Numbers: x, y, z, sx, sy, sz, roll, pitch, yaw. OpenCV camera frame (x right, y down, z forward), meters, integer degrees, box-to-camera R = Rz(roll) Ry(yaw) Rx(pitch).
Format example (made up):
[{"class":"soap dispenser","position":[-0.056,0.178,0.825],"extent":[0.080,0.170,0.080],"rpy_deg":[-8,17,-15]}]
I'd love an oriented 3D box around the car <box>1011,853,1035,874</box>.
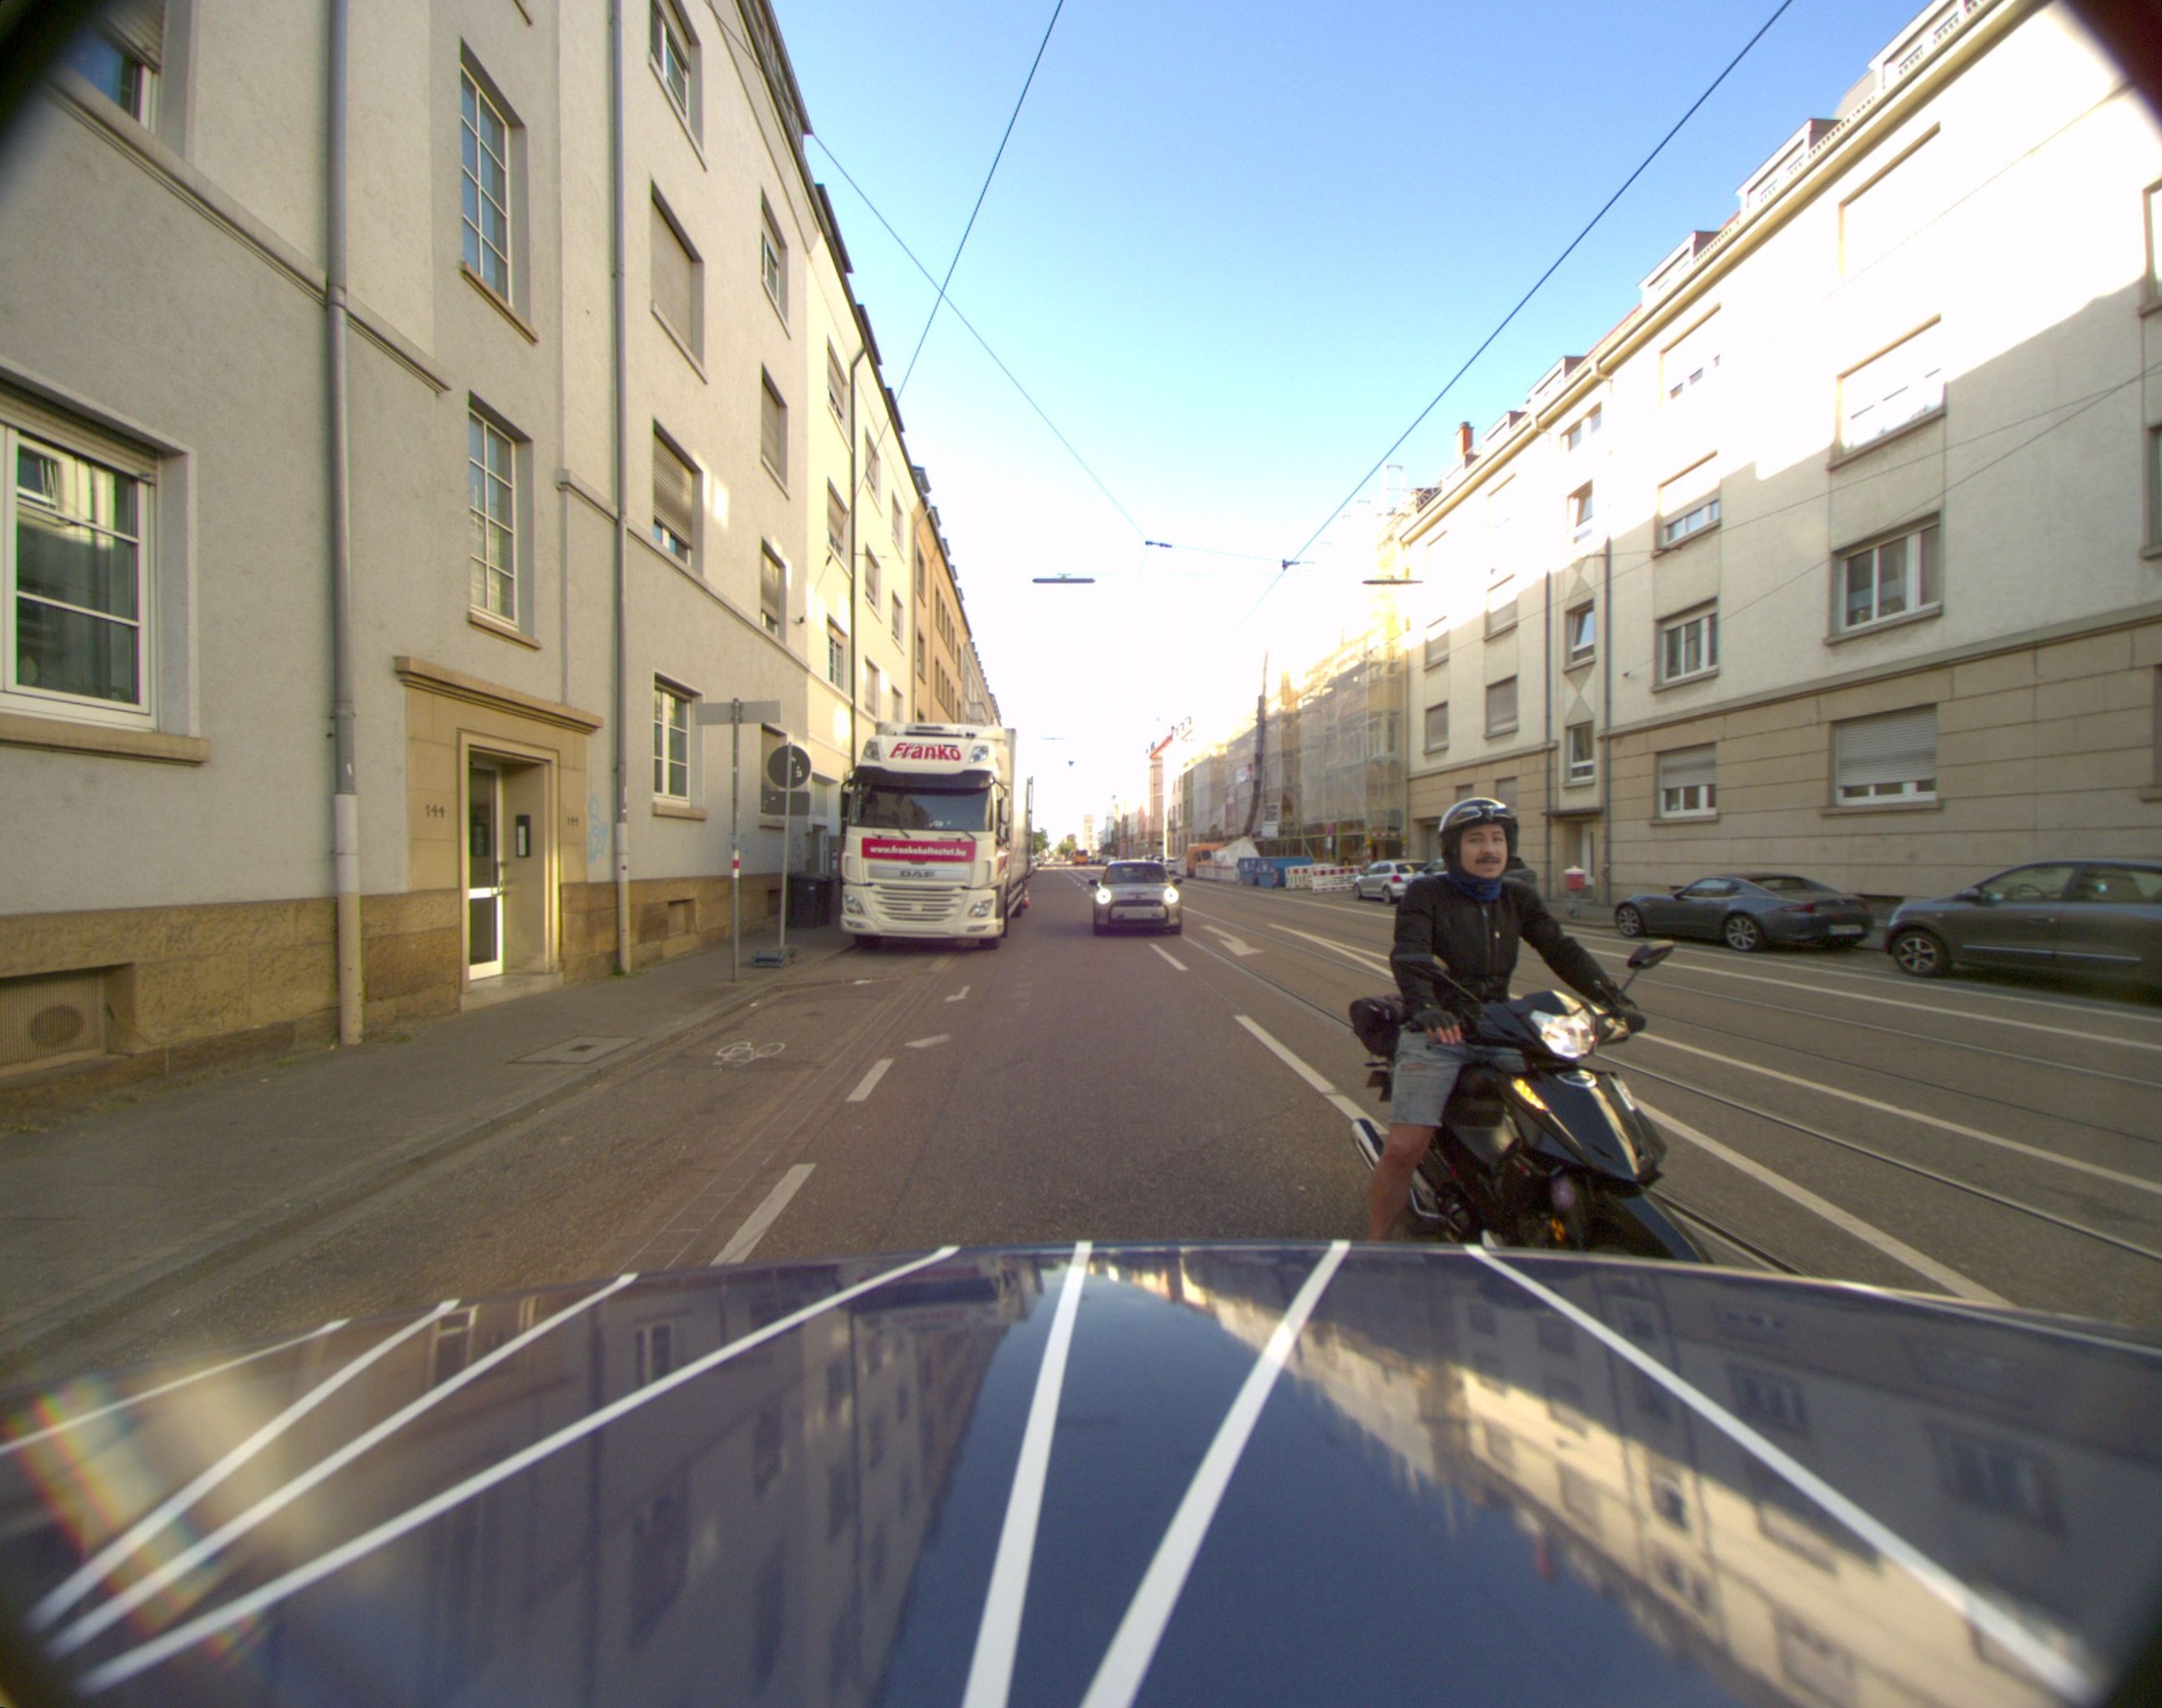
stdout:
[{"class":"car","position":[-4.514,0.741,59.173],"extent":[1.685,1.522,4.148],"rpy_deg":[-2,0,-3]}]

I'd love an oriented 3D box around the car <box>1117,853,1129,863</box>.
[{"class":"car","position":[6.596,0.617,118.650],"extent":[1.684,1.478,3.966],"rpy_deg":[-2,0,1]}]

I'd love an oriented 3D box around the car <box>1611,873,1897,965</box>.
[{"class":"car","position":[11.176,1.000,12.996],"extent":[1.520,1.227,3.685],"rpy_deg":[-1,0,-3]}]

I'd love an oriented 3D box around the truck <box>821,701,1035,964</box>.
[{"class":"truck","position":[-2.629,-0.324,17.195],"extent":[2.782,3.903,11.816],"rpy_deg":[0,0,-2]}]

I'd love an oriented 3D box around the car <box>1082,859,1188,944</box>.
[{"class":"car","position":[0.991,0.875,15.821],"extent":[1.685,1.454,4.148],"rpy_deg":[-2,0,-3]}]

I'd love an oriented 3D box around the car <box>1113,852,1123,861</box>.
[{"class":"car","position":[6.528,0.458,134.416],"extent":[1.684,1.478,3.966],"rpy_deg":[-2,0,1]}]

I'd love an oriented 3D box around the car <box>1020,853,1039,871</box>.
[{"class":"car","position":[-4.859,0.742,72.113],"extent":[1.685,1.522,4.148],"rpy_deg":[-2,0,-3]}]

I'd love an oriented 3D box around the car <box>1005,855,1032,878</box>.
[{"class":"car","position":[-4.306,0.823,53.004],"extent":[1.685,1.522,4.148],"rpy_deg":[-2,0,-3]}]

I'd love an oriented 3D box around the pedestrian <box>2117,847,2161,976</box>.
[{"class":"pedestrian","position":[13.122,0.681,9.062],"extent":[0.570,1.532,0.693],"rpy_deg":[0,1,-2]}]

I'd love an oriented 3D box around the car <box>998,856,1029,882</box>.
[{"class":"car","position":[-4.179,0.892,47.202],"extent":[1.685,1.522,4.148],"rpy_deg":[-2,0,-3]}]

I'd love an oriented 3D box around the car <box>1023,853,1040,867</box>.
[{"class":"car","position":[-5.353,0.642,82.759],"extent":[1.685,1.522,4.148],"rpy_deg":[-2,0,-3]}]

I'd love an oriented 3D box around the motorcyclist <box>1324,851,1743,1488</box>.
[{"class":"motorcyclist","position":[1.305,0.815,2.405],"extent":[0.791,1.645,0.900],"rpy_deg":[0,1,1]}]

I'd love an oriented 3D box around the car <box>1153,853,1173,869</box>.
[{"class":"car","position":[8.263,0.701,76.824],"extent":[1.684,1.478,3.966],"rpy_deg":[-2,0,1]}]

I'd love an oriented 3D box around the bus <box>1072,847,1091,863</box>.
[{"class":"bus","position":[0.032,0.166,156.355],"extent":[2.755,3.095,19.156],"rpy_deg":[0,0,-3]}]

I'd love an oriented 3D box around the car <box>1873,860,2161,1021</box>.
[{"class":"car","position":[11.413,0.860,8.334],"extent":[1.679,1.519,3.539],"rpy_deg":[-1,0,-3]}]

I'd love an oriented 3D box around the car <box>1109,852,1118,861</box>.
[{"class":"car","position":[5.955,0.436,139.358],"extent":[1.684,1.478,3.966],"rpy_deg":[-2,0,1]}]

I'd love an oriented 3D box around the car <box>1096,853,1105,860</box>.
[{"class":"car","position":[4.256,0.608,167.826],"extent":[1.684,1.478,3.965],"rpy_deg":[-2,0,-1]}]

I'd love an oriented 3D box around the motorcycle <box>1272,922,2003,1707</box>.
[{"class":"motorcycle","position":[1.305,0.971,2.534],"extent":[0.791,1.284,2.273],"rpy_deg":[0,0,1]}]

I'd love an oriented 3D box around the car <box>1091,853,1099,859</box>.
[{"class":"car","position":[3.534,0.598,191.761],"extent":[1.684,1.478,3.965],"rpy_deg":[-2,0,-1]}]

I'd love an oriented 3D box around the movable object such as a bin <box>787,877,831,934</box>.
[{"class":"movable object such as a bin","position":[-5.387,1.003,15.055],"extent":[0.666,1.087,0.570],"rpy_deg":[0,1,-2]}]

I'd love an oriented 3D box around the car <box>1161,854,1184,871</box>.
[{"class":"car","position":[8.569,0.756,71.127],"extent":[1.684,1.478,3.966],"rpy_deg":[-2,0,1]}]

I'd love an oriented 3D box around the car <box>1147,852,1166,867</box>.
[{"class":"car","position":[8.242,0.612,83.198],"extent":[1.684,1.573,3.966],"rpy_deg":[-2,0,1]}]

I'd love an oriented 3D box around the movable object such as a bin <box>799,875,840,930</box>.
[{"class":"movable object such as a bin","position":[-5.403,0.995,15.723],"extent":[0.666,1.087,0.570],"rpy_deg":[0,1,-2]}]

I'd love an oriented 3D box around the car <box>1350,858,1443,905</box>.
[{"class":"car","position":[10.606,0.880,25.794],"extent":[1.543,1.404,3.510],"rpy_deg":[-1,0,-3]}]

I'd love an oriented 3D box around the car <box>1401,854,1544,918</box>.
[{"class":"car","position":[10.807,0.804,21.345],"extent":[1.696,1.590,4.206],"rpy_deg":[-1,0,-3]}]

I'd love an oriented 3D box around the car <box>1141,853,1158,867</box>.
[{"class":"car","position":[7.931,0.649,87.894],"extent":[1.684,1.478,3.966],"rpy_deg":[-2,0,1]}]
